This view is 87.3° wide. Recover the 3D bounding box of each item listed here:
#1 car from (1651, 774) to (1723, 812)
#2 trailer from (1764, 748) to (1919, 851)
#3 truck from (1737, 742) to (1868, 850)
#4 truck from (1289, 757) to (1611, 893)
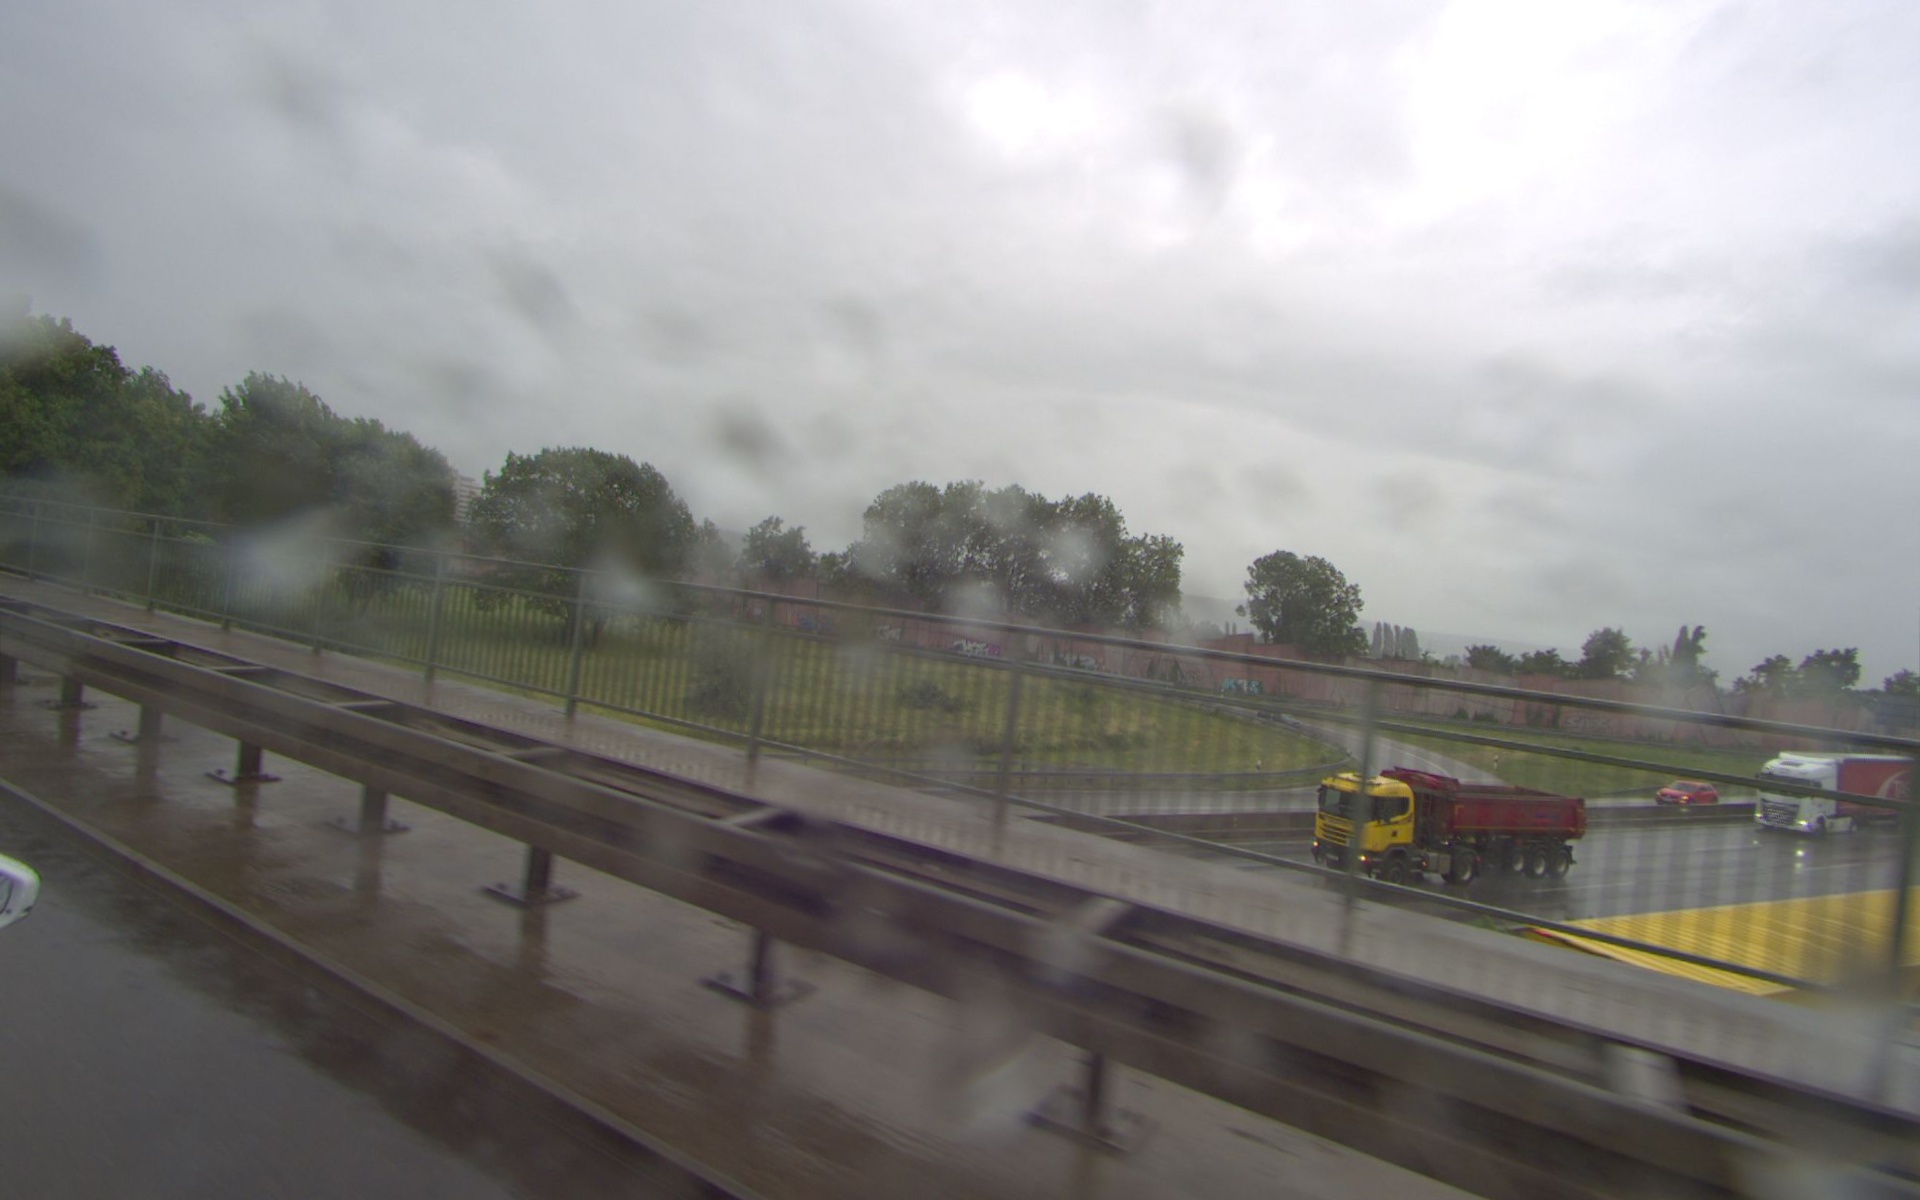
[{"bbox_3d":[43.360,11.514,60.015,3.956,1.601,1.796,11,-5,-26],"label":"car"},{"bbox_3d":[51.604,11.325,57.375,13.666,5.008,3.126,5,-1,-26],"label":"trailer"},{"bbox_3d":[45.568,10.530,54.440,5.729,5.176,3.126,5,-1,-25],"label":"truck"},{"bbox_3d":[17.554,8.017,35.607,12.228,3.793,3.126,8,-2,-26],"label":"truck"}]
